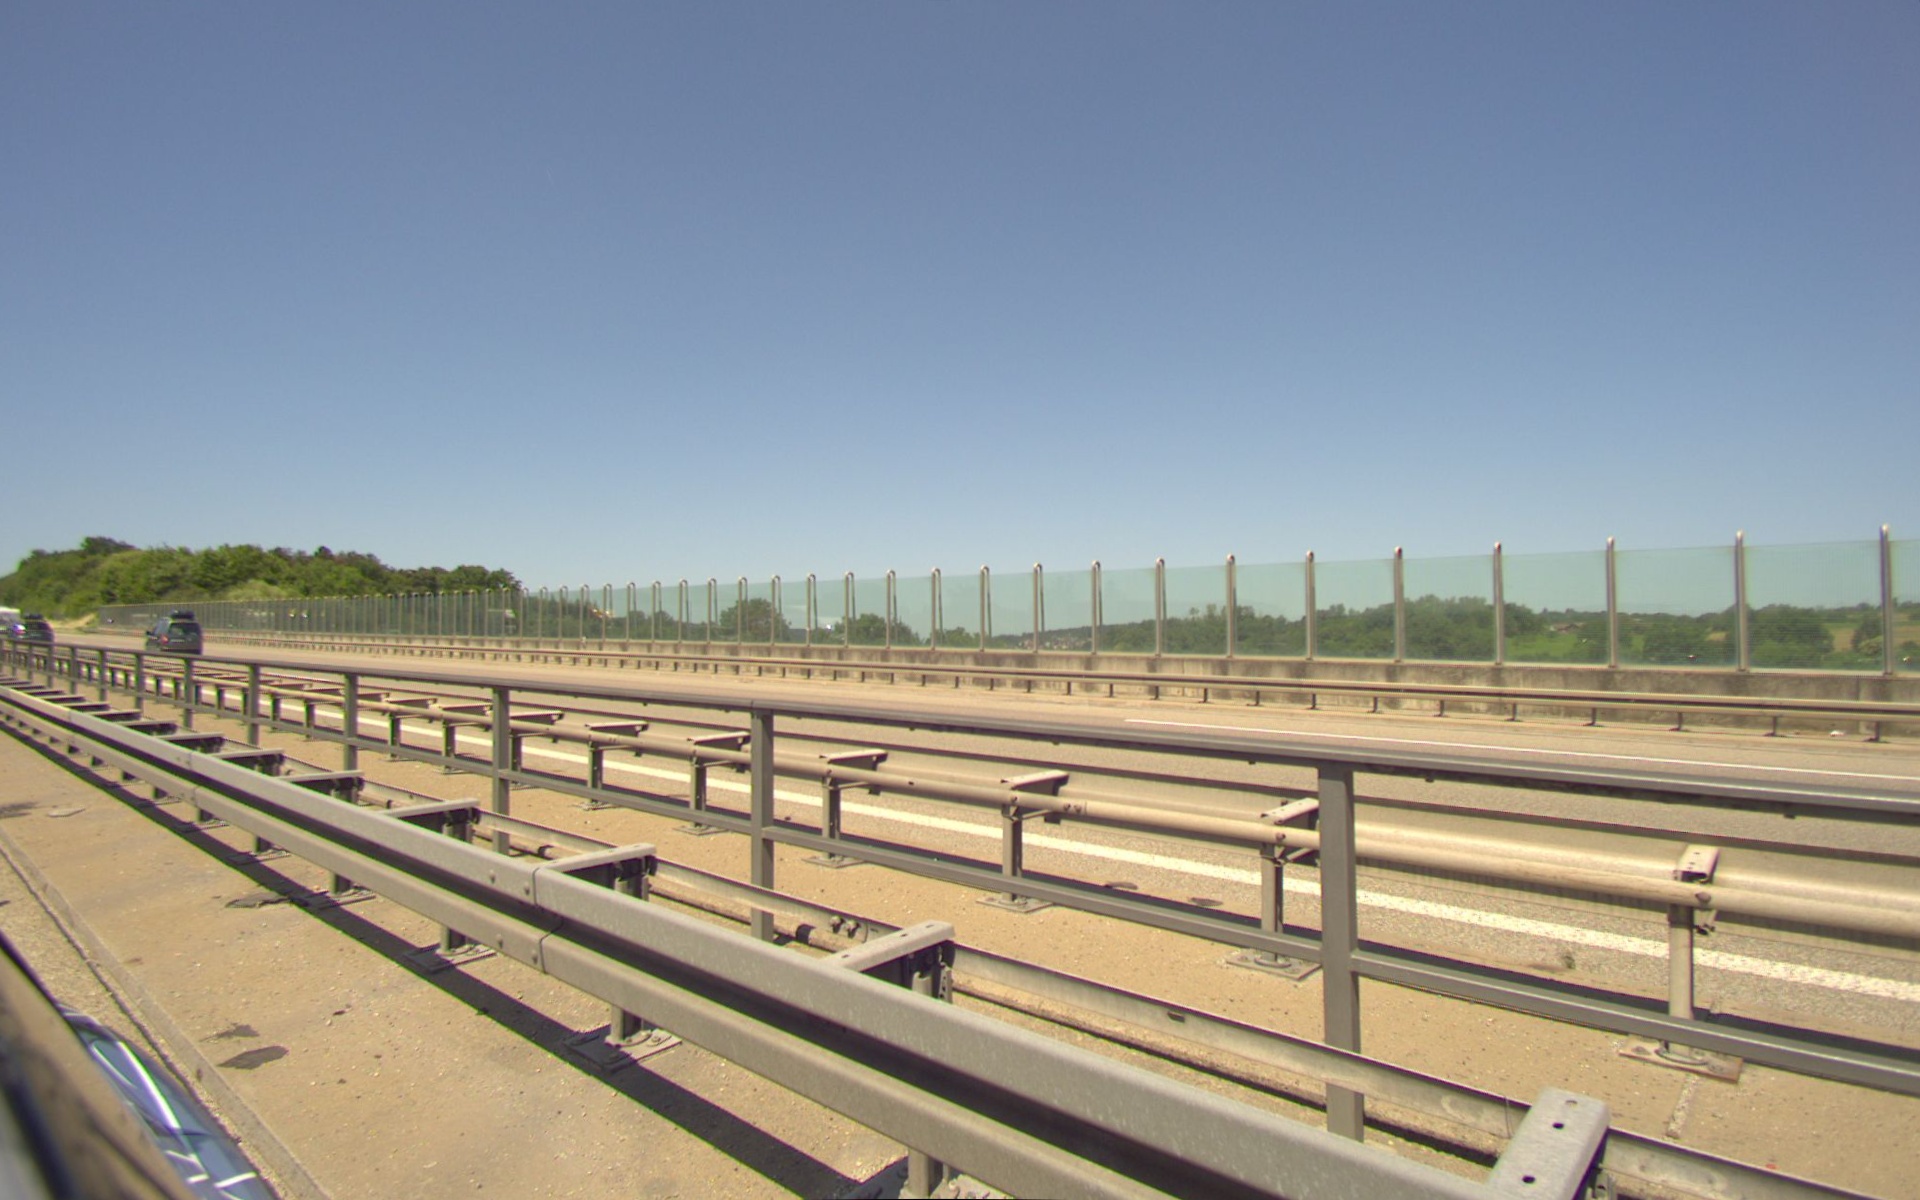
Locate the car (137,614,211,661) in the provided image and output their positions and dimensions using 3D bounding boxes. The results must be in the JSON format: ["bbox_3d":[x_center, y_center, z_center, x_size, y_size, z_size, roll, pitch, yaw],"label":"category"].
[{"bbox_3d":[-39.017,1.866,50.210,4.265,2.233,1.973,-2,-4,41],"label":"car"}]

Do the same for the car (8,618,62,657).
[{"bbox_3d":[-54.192,2.212,59.269,4.266,2.147,1.843,-2,-4,42],"label":"car"}]

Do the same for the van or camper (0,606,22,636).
[{"bbox_3d":[-101.041,2.234,106.606,7.023,3.047,2.397,-2,-4,41],"label":"van or camper"}]
